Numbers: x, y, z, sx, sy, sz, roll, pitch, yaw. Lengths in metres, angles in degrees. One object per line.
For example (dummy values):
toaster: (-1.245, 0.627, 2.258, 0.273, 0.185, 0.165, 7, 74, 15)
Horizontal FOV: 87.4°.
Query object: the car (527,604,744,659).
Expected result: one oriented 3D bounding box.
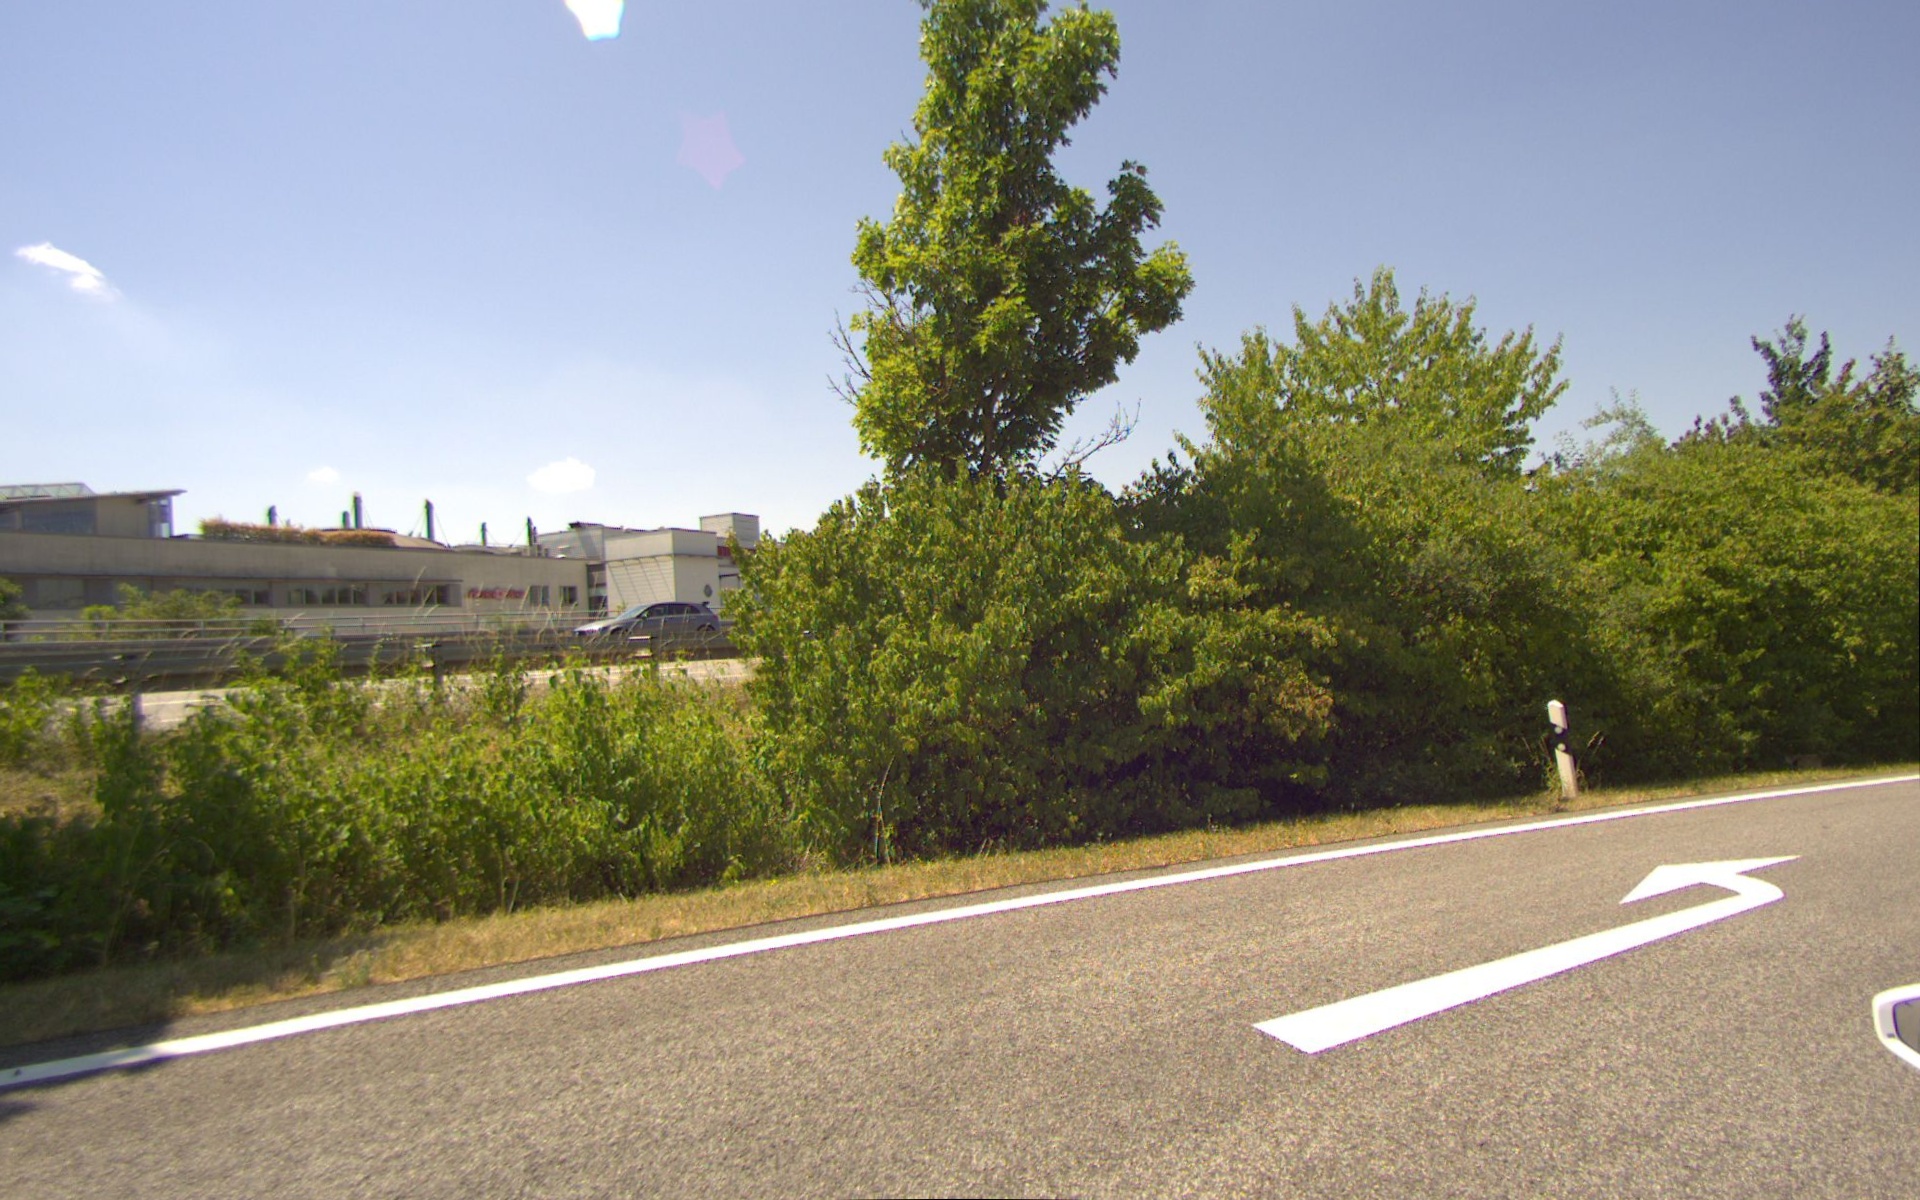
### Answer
car: (-9.596, 0.922, 29.987, 5.783, 1.461, 2.136, 2, 0, -37)
